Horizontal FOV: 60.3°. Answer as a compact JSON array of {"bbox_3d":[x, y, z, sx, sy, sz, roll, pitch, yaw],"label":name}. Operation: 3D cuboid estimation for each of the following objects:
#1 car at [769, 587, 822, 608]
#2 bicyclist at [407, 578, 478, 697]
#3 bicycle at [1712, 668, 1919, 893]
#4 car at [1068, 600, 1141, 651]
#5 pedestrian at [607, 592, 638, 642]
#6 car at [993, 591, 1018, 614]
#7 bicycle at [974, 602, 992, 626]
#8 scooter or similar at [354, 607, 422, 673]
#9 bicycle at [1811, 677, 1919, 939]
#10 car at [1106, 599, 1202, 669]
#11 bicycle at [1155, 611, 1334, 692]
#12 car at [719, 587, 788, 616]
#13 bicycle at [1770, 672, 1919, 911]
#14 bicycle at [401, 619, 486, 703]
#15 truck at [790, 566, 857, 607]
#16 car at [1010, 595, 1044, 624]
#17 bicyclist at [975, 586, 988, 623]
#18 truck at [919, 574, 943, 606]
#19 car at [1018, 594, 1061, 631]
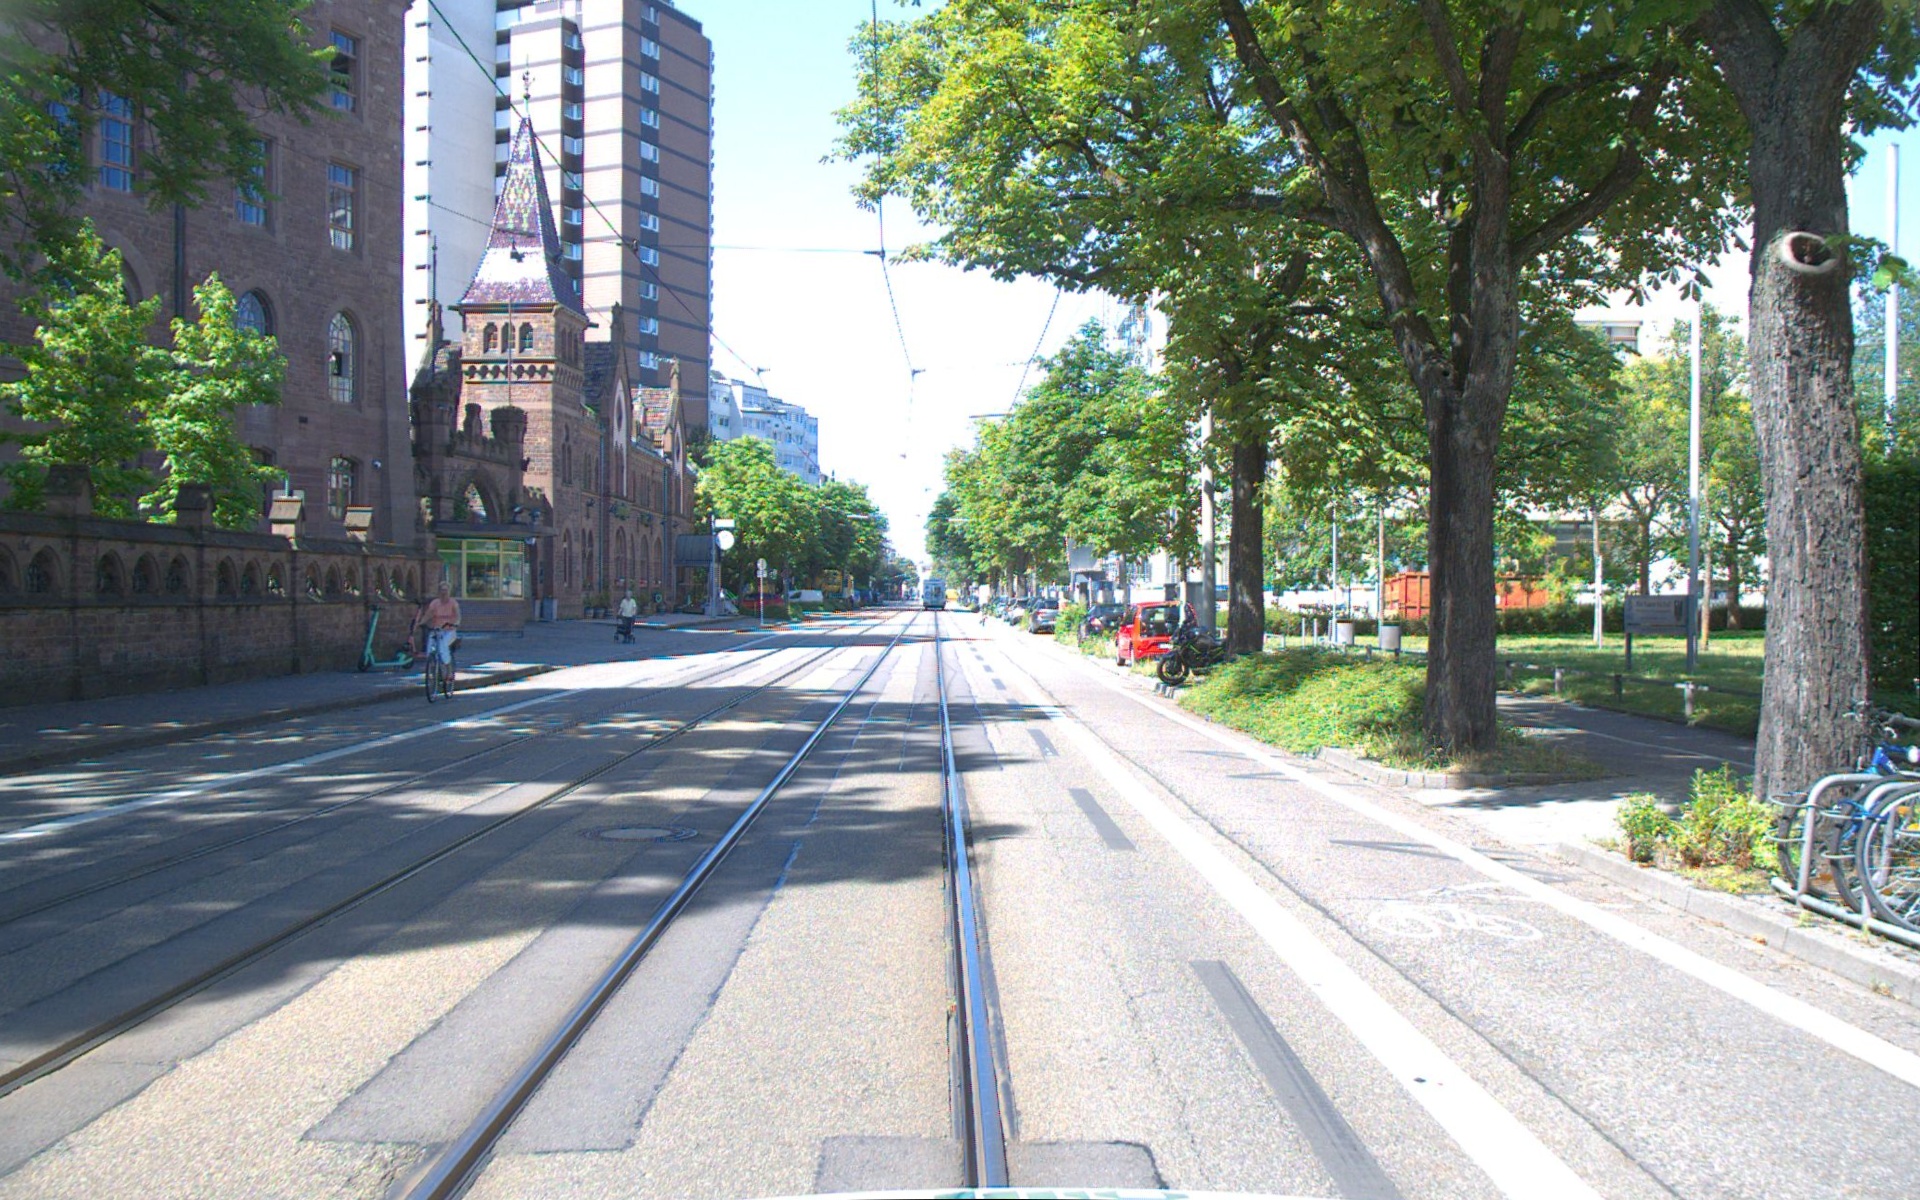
[{"bbox_3d":[-13.717,-0.194,137.765,3.947,1.780,1.979,0,0,-32],"label":"car"},{"bbox_3d":[-7.707,0.548,24.688,0.710,1.728,1.146,0,0,-2],"label":"bicyclist"},{"bbox_3d":[4.845,0.919,8.575,1.689,1.105,0.478,0,0,-2],"label":"bicycle"},{"bbox_3d":[4.122,0.719,47.789,1.597,1.378,3.899,0,0,-3],"label":"car"},{"bbox_3d":[-10.488,0.528,51.452,0.867,1.538,1.472,0,0,-10],"label":"pedestrian"},{"bbox_3d":[3.086,0.163,112.965,1.596,1.498,4.113,0,0,-1],"label":"car"},{"bbox_3d":[1.163,0.700,84.480,0.838,1.129,2.139,2,0,-2],"label":"bicycle"},{"bbox_3d":[-10.305,0.713,29.831,0.327,1.149,1.181,0,0,38],"label":"scooter or similar"},{"bbox_3d":[4.857,0.917,7.504,1.689,1.105,0.615,0,0,-2],"label":"bicycle"},{"bbox_3d":[4.397,0.732,37.949,1.597,1.498,3.717,0,0,-3],"label":"car"},{"bbox_3d":[4.918,0.874,28.793,2.965,1.355,1.041,0,0,2],"label":"bicycle"},{"bbox_3d":[-13.080,0.096,104.941,3.959,1.842,1.864,0,0,-38],"label":"car"},{"bbox_3d":[4.919,0.918,8.092,1.689,1.105,0.478,0,0,-2],"label":"bicycle"},{"bbox_3d":[-7.731,0.888,24.825,0.649,1.174,2.014,0,0,-1],"label":"bicycle"},{"bbox_3d":[-13.664,-1.346,167.052,2.755,3.927,10.001,0,0,21],"label":"truck"},{"bbox_3d":[3.508,0.494,87.354,1.596,1.498,4.113,0,0,-1],"label":"car"},{"bbox_3d":[1.114,0.226,84.571,0.623,1.904,1.024,0,0,-2],"label":"bicyclist"},{"bbox_3d":[-2.900,-1.007,165.034,2.354,3.163,6.036,1,0,-1],"label":"truck"},{"bbox_3d":[3.313,0.488,69.436,1.596,1.498,4.113,0,0,-1],"label":"car"}]
